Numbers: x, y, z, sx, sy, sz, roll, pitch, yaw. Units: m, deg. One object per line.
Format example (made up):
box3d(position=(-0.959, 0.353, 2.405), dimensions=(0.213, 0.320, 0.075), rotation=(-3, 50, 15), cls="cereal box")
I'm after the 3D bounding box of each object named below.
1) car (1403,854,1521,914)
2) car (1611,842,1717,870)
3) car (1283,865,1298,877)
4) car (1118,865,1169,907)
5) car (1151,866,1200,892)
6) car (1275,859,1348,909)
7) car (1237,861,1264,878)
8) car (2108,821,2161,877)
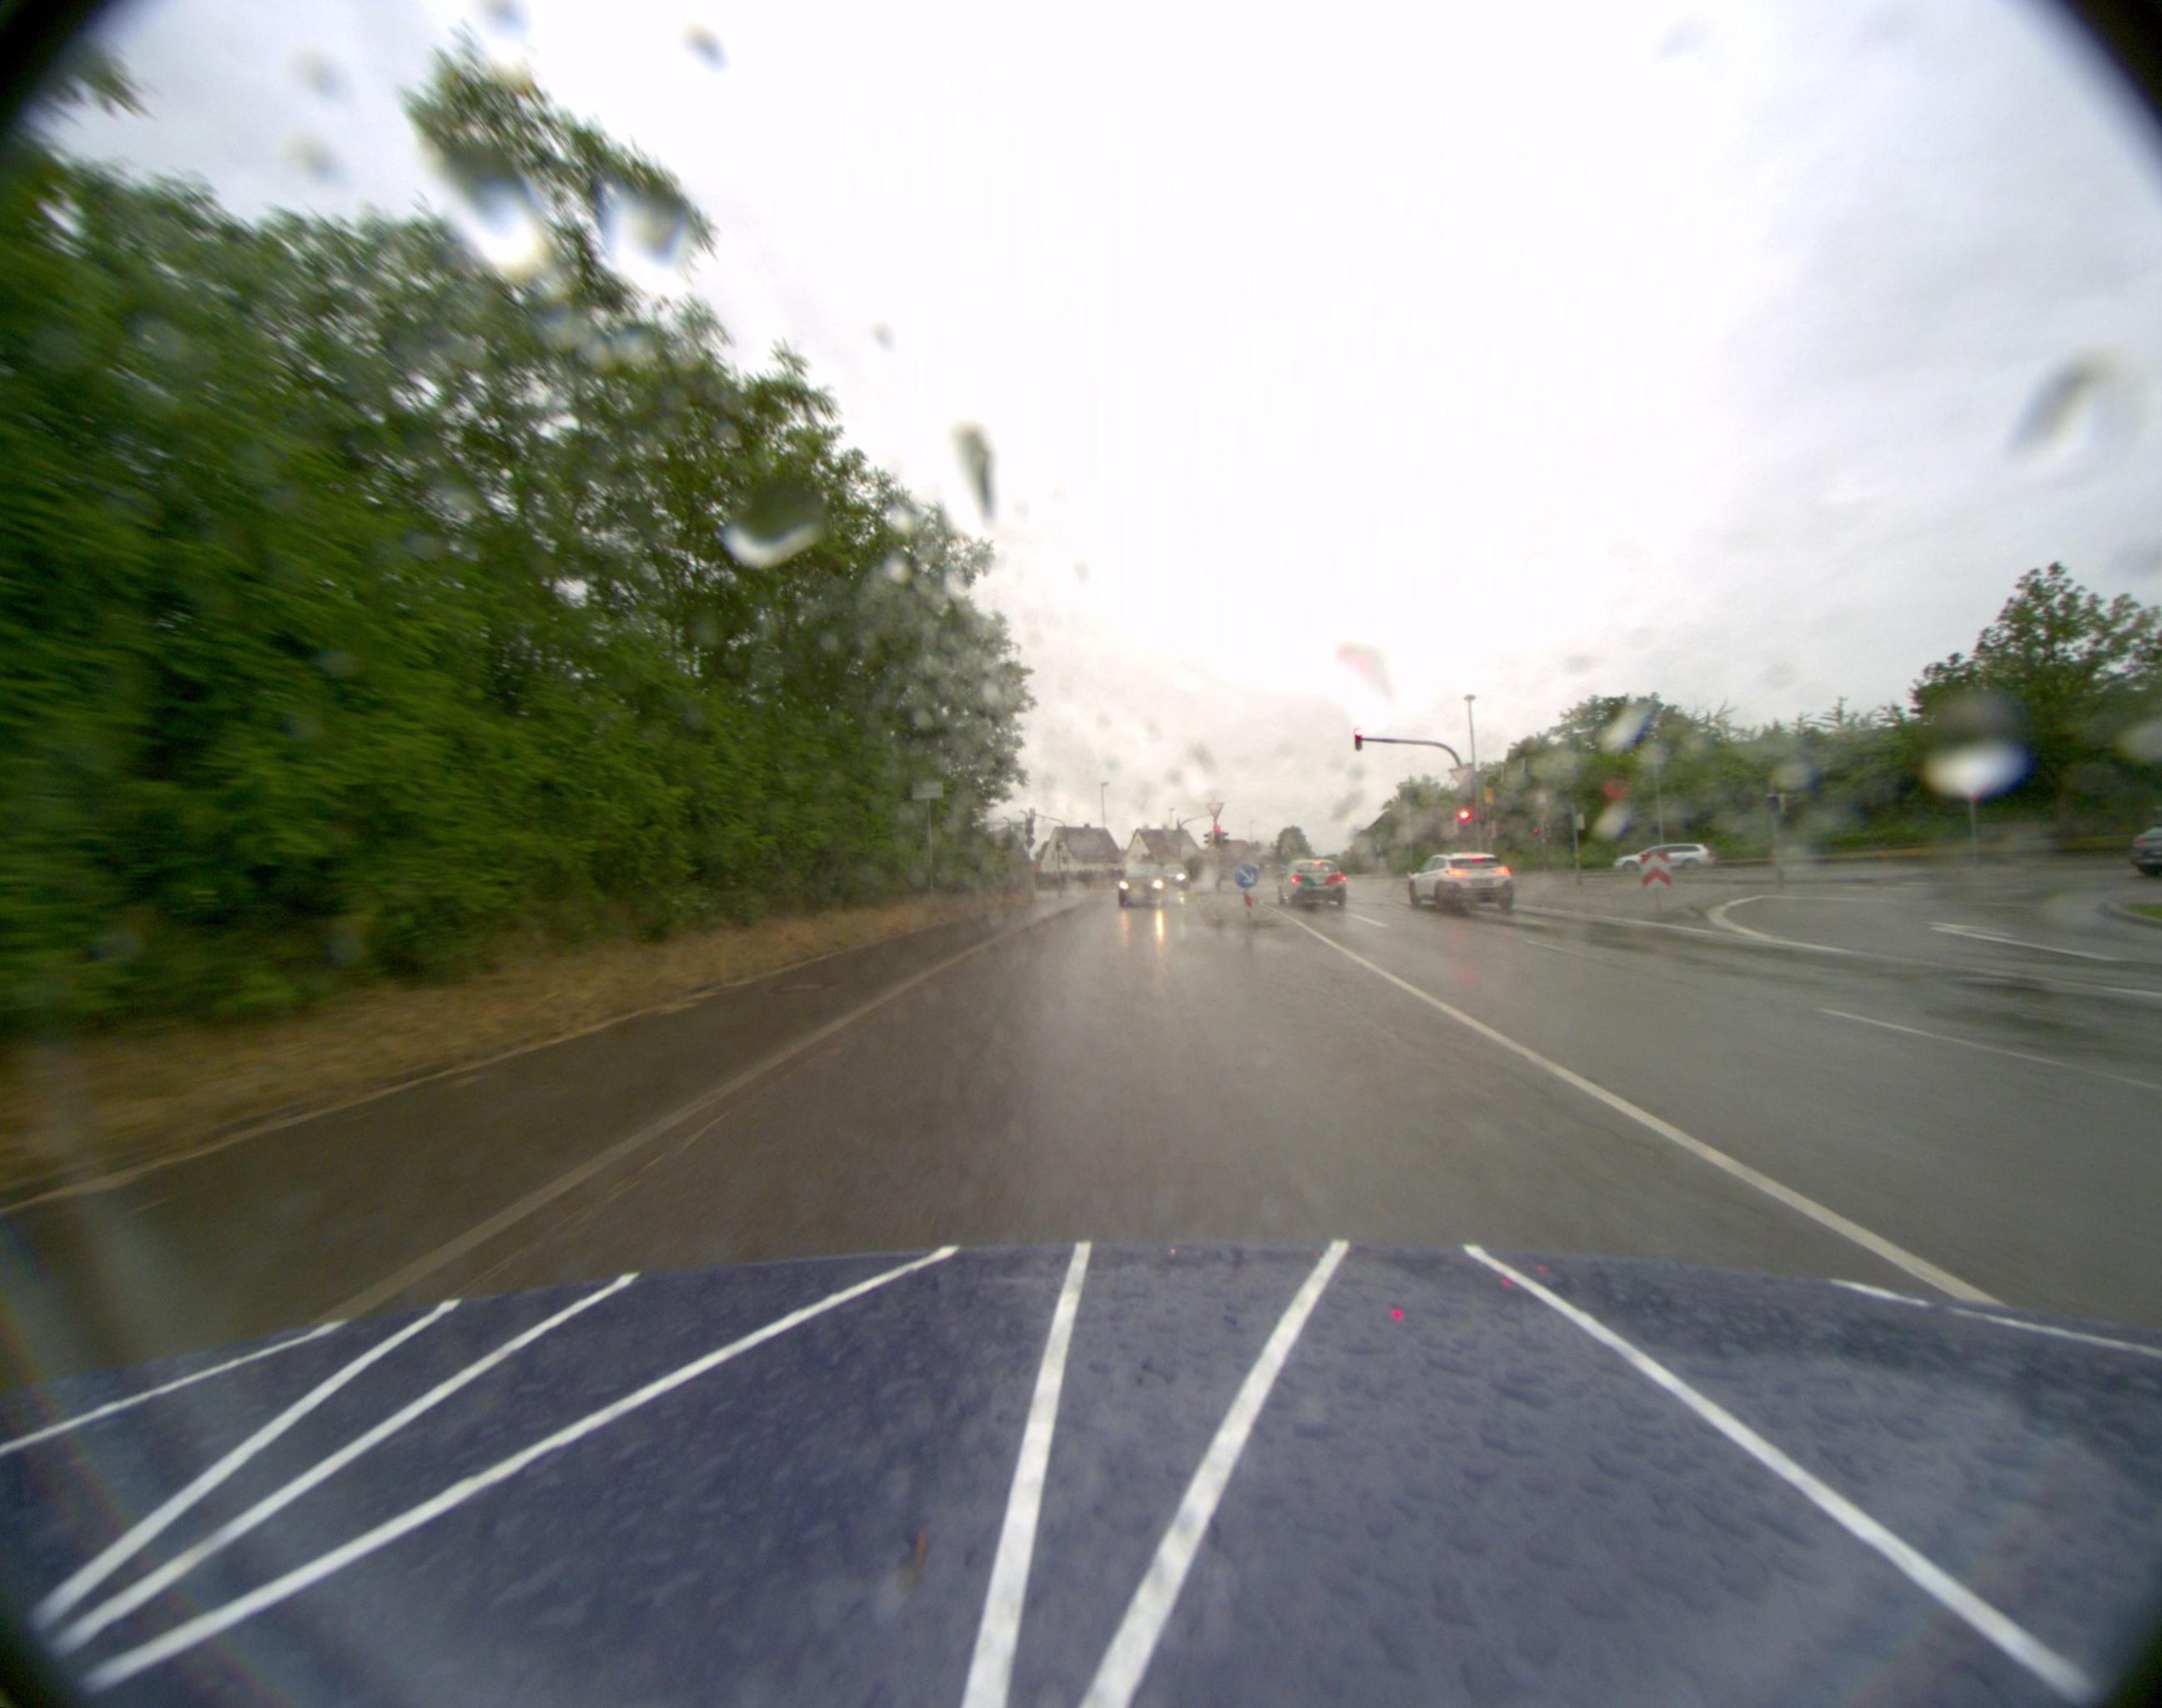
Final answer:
box3d(position=(10.632, 0.795, 21.534), dimensions=(1.723, 1.485, 4.003), rotation=(-3, -1, 8), cls="car")
box3d(position=(32.352, 0.123, 42.252), dimensions=(4.520, 1.354, 1.766), rotation=(-4, -1, 43), cls="car")
box3d(position=(29.590, 2.346, 107.150), dimensions=(1.755, 1.547, 3.926), rotation=(-3, -2, 19), cls="car")
box3d(position=(2.447, 1.202, 28.819), dimensions=(1.665, 1.409, 3.936), rotation=(-3, -2, 8), cls="car")
box3d(position=(5.839, 1.499, 46.547), dimensions=(1.896, 1.473, 4.007), rotation=(-3, -2, 22), cls="car")
box3d(position=(7.476, 0.935, 24.952), dimensions=(1.664, 1.485, 4.003), rotation=(-1, 0, 8), cls="car")
box3d(position=(25.503, 2.348, 114.346), dimensions=(4.008, 2.336, 1.650), rotation=(-1, -2, -39), cls="car")
box3d(position=(29.881, -0.148, 19.677), dimensions=(3.997, 1.448, 1.904), rotation=(-1, 1, 0), cls="car")
